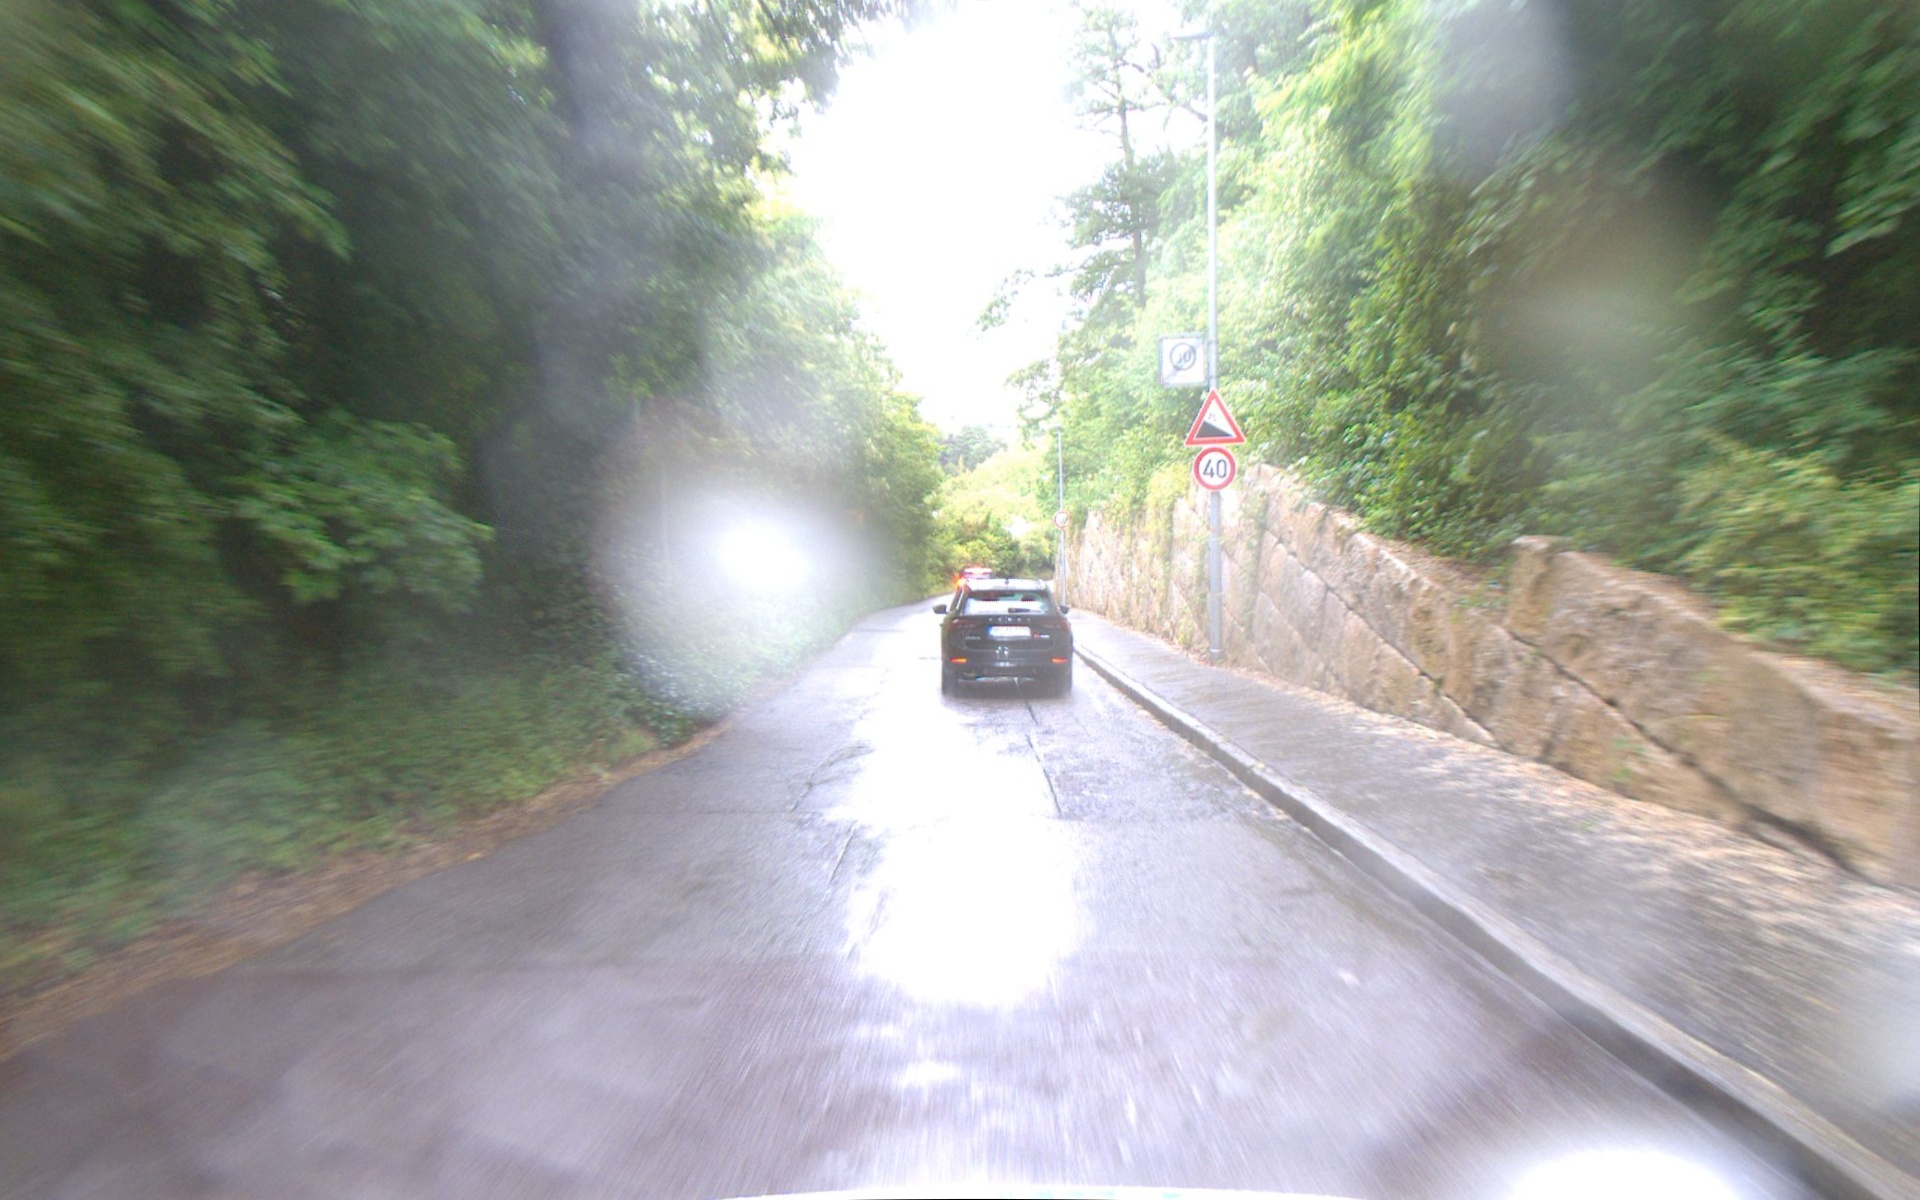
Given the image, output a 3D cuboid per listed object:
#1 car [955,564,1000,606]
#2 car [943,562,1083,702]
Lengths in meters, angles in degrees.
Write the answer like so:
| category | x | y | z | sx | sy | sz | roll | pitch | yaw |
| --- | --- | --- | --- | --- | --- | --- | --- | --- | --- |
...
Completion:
| category | x | y | z | sx | sy | sz | roll | pitch | yaw |
| --- | --- | --- | --- | --- | --- | --- | --- | --- | --- |
| car | 0.753 | -0.688 | 72.851 | 1.825 | 1.773 | 3.999 | 1 | 1 | -2 |
| car | 0.645 | 0.354 | 22.626 | 1.665 | 1.475 | 4.001 | -1 | 5 | -1 |
